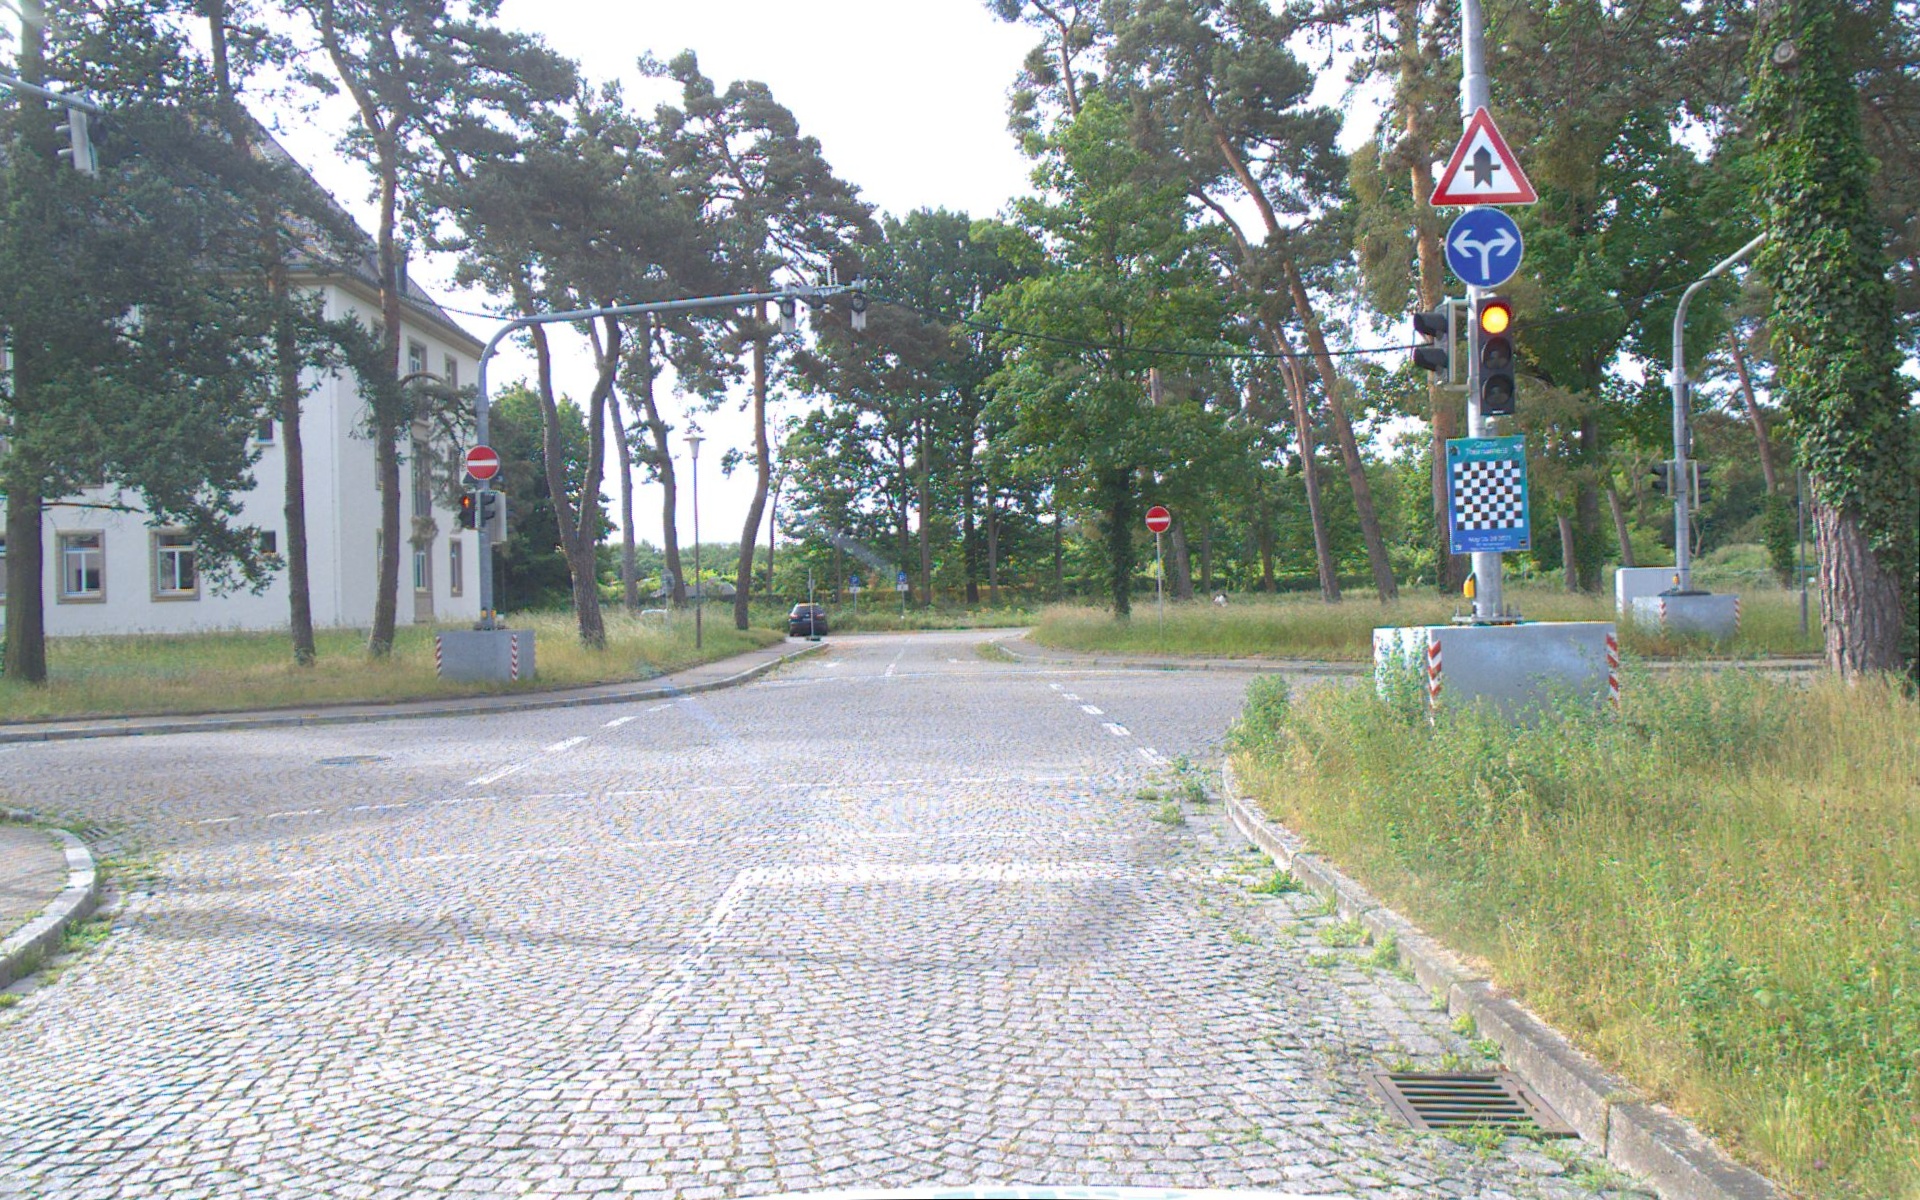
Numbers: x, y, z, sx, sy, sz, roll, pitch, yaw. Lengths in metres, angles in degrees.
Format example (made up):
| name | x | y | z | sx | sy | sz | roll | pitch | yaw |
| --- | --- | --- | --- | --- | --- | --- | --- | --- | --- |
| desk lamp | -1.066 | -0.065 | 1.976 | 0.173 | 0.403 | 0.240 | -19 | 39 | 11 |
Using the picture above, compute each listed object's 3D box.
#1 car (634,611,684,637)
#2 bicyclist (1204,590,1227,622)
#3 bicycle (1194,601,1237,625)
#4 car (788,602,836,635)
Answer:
| name | x | y | z | sx | sy | sz | roll | pitch | yaw |
| --- | --- | --- | --- | --- | --- | --- | --- | --- | --- |
| car | -14.695 | 1.149 | 80.948 | 1.654 | 1.176 | 4.000 | -2 | 0 | 0 |
| bicyclist | 12.731 | 0.292 | 82.441 | 0.955 | 1.537 | 0.807 | -2 | 0 | -5 |
| bicycle | 12.750 | 0.636 | 82.438 | 1.948 | 1.114 | 0.809 | -2 | 0 | -5 |
| car | -7.152 | 0.897 | 80.131 | 1.953 | 1.534 | 4.000 | 0 | 0 | 0 |
